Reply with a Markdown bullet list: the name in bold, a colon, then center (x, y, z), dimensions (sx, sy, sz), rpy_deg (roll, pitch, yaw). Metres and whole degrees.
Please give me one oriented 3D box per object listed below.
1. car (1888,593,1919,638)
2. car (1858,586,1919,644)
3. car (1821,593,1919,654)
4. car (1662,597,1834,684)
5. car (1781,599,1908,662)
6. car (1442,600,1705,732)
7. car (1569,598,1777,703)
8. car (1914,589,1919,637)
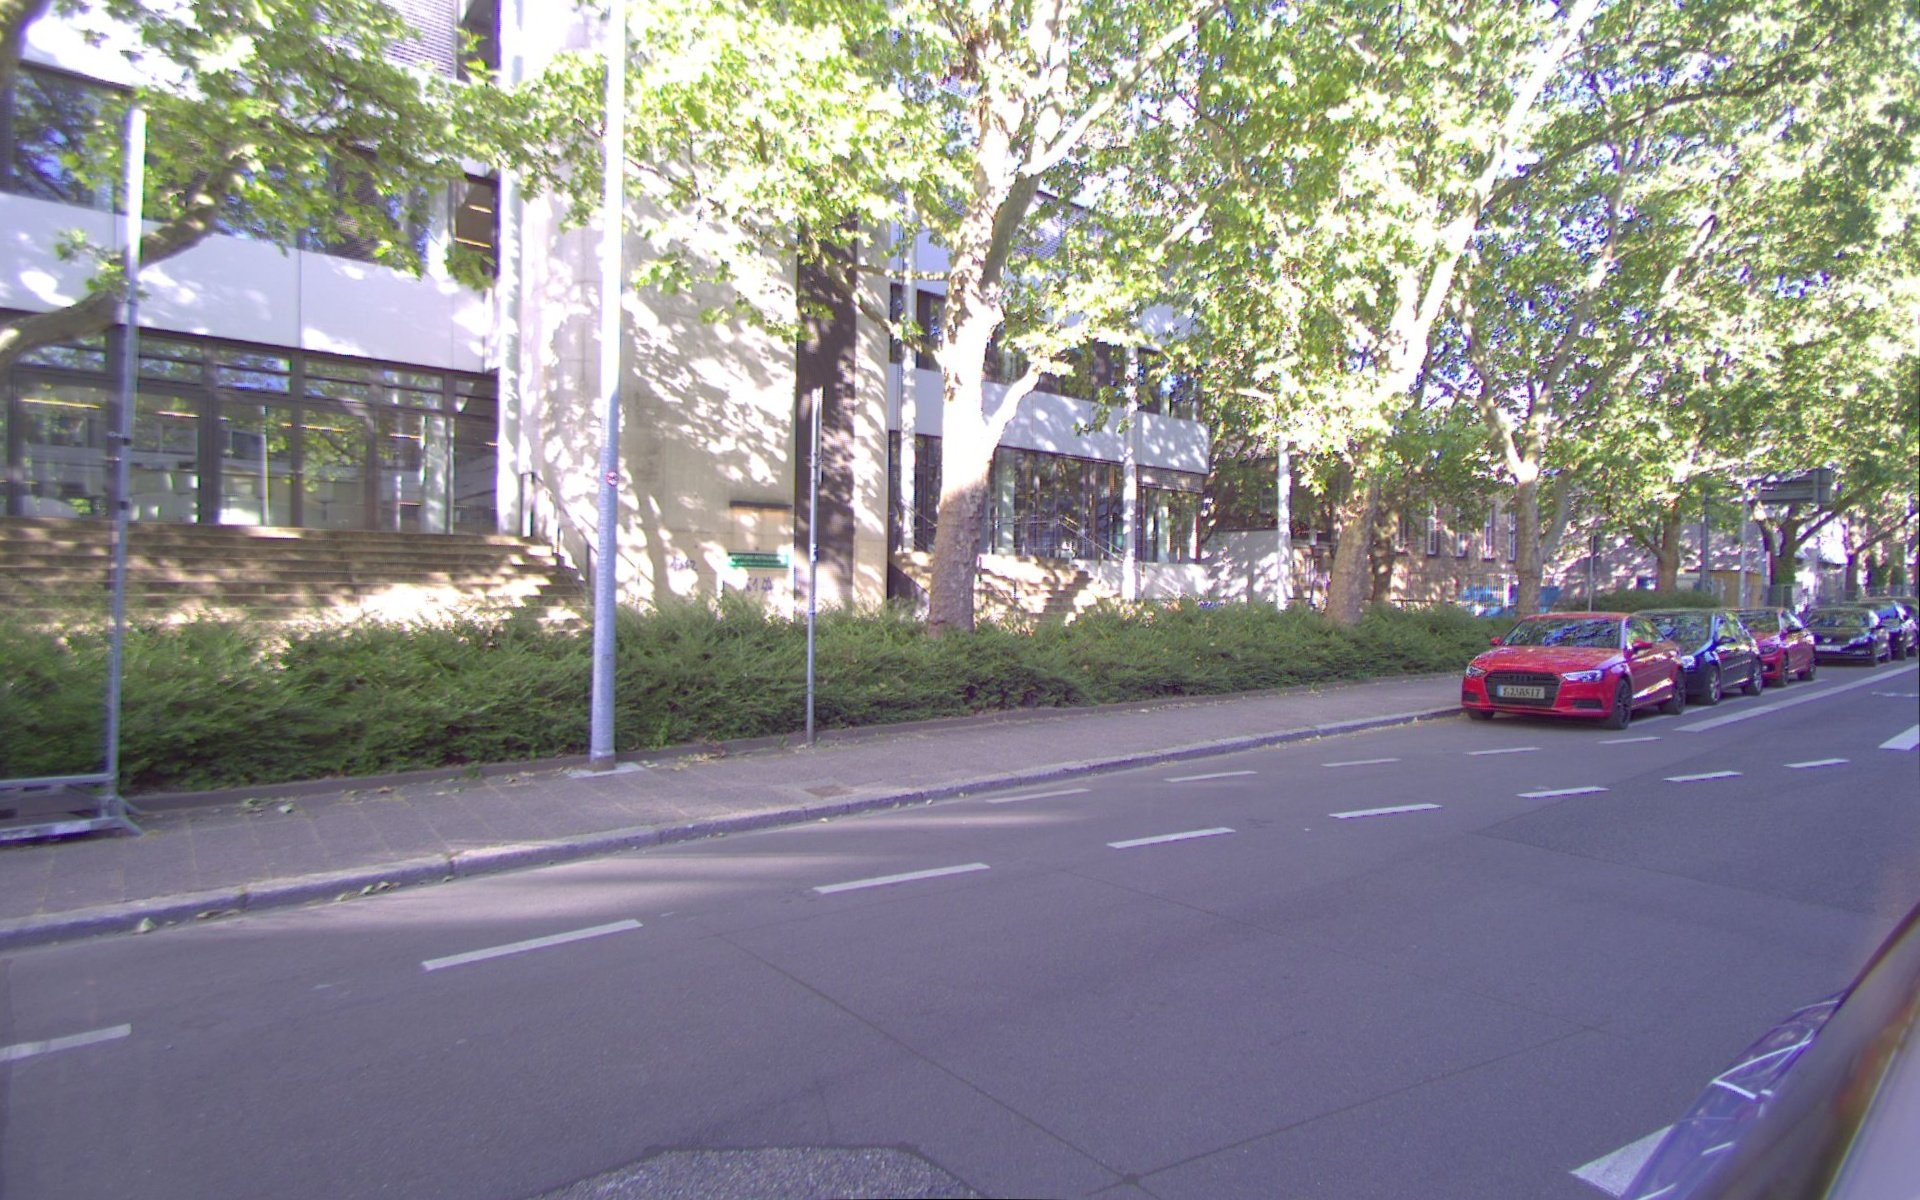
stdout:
- **car**: center (35.995, 0.558, 37.450), dimensions (4.070, 1.585, 1.997), rpy_deg (-1, 0, -41)
- **car**: center (31.276, 0.448, 33.311), dimensions (4.493, 1.809, 1.997), rpy_deg (-1, 0, -41)
- **car**: center (26.537, 0.607, 29.182), dimensions (4.070, 1.621, 1.997), rpy_deg (-1, 0, -41)
- **car**: center (15.659, 0.717, 20.053), dimensions (3.762, 1.517, 1.997), rpy_deg (-1, 0, -41)
- **car**: center (22.812, 0.721, 26.061), dimensions (3.527, 1.474, 1.997), rpy_deg (-1, 0, -41)
- **car**: center (8.269, 0.751, 13.524), dimensions (3.930, 1.443, 1.906), rpy_deg (-1, 0, -41)
- **car**: center (11.740, 0.728, 16.607), dimensions (3.581, 1.478, 1.997), rpy_deg (-1, 0, -41)
- **car**: center (39.632, 0.483, 40.299), dimensions (3.930, 1.872, 1.997), rpy_deg (-1, 0, -41)
